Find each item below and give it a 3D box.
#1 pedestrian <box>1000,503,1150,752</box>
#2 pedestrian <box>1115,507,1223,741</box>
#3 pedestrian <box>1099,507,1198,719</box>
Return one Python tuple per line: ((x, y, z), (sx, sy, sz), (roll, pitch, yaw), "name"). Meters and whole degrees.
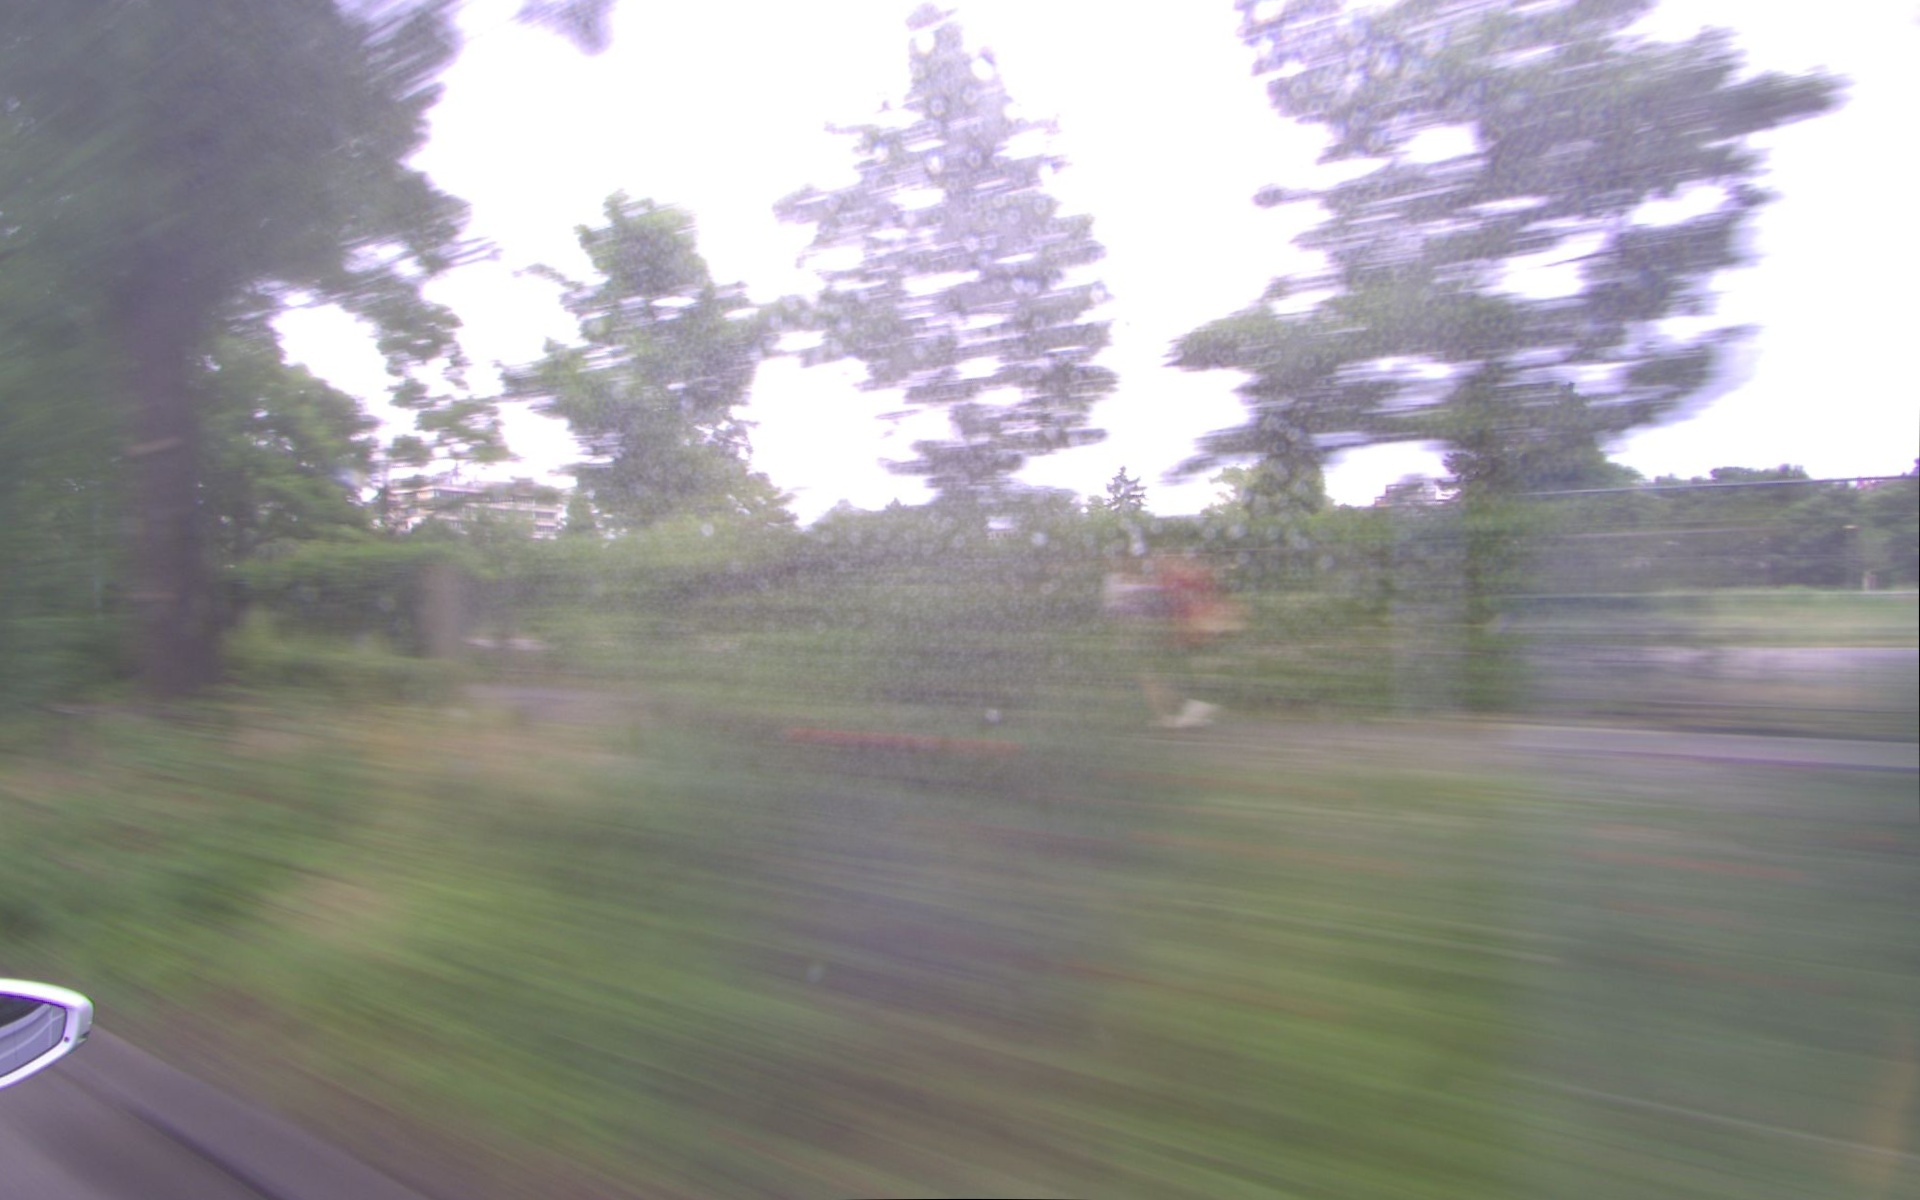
((1.028, 0.225, 8.829), (1.023, 2.041, 0.924), (0, 2, 28), "pedestrian")
((1.939, 0.203, 9.243), (0.710, 2.041, 0.822), (0, 3, 31), "pedestrian")
((1.922, 0.124, 10.157), (0.710, 2.041, 0.822), (0, 2, 31), "pedestrian")
